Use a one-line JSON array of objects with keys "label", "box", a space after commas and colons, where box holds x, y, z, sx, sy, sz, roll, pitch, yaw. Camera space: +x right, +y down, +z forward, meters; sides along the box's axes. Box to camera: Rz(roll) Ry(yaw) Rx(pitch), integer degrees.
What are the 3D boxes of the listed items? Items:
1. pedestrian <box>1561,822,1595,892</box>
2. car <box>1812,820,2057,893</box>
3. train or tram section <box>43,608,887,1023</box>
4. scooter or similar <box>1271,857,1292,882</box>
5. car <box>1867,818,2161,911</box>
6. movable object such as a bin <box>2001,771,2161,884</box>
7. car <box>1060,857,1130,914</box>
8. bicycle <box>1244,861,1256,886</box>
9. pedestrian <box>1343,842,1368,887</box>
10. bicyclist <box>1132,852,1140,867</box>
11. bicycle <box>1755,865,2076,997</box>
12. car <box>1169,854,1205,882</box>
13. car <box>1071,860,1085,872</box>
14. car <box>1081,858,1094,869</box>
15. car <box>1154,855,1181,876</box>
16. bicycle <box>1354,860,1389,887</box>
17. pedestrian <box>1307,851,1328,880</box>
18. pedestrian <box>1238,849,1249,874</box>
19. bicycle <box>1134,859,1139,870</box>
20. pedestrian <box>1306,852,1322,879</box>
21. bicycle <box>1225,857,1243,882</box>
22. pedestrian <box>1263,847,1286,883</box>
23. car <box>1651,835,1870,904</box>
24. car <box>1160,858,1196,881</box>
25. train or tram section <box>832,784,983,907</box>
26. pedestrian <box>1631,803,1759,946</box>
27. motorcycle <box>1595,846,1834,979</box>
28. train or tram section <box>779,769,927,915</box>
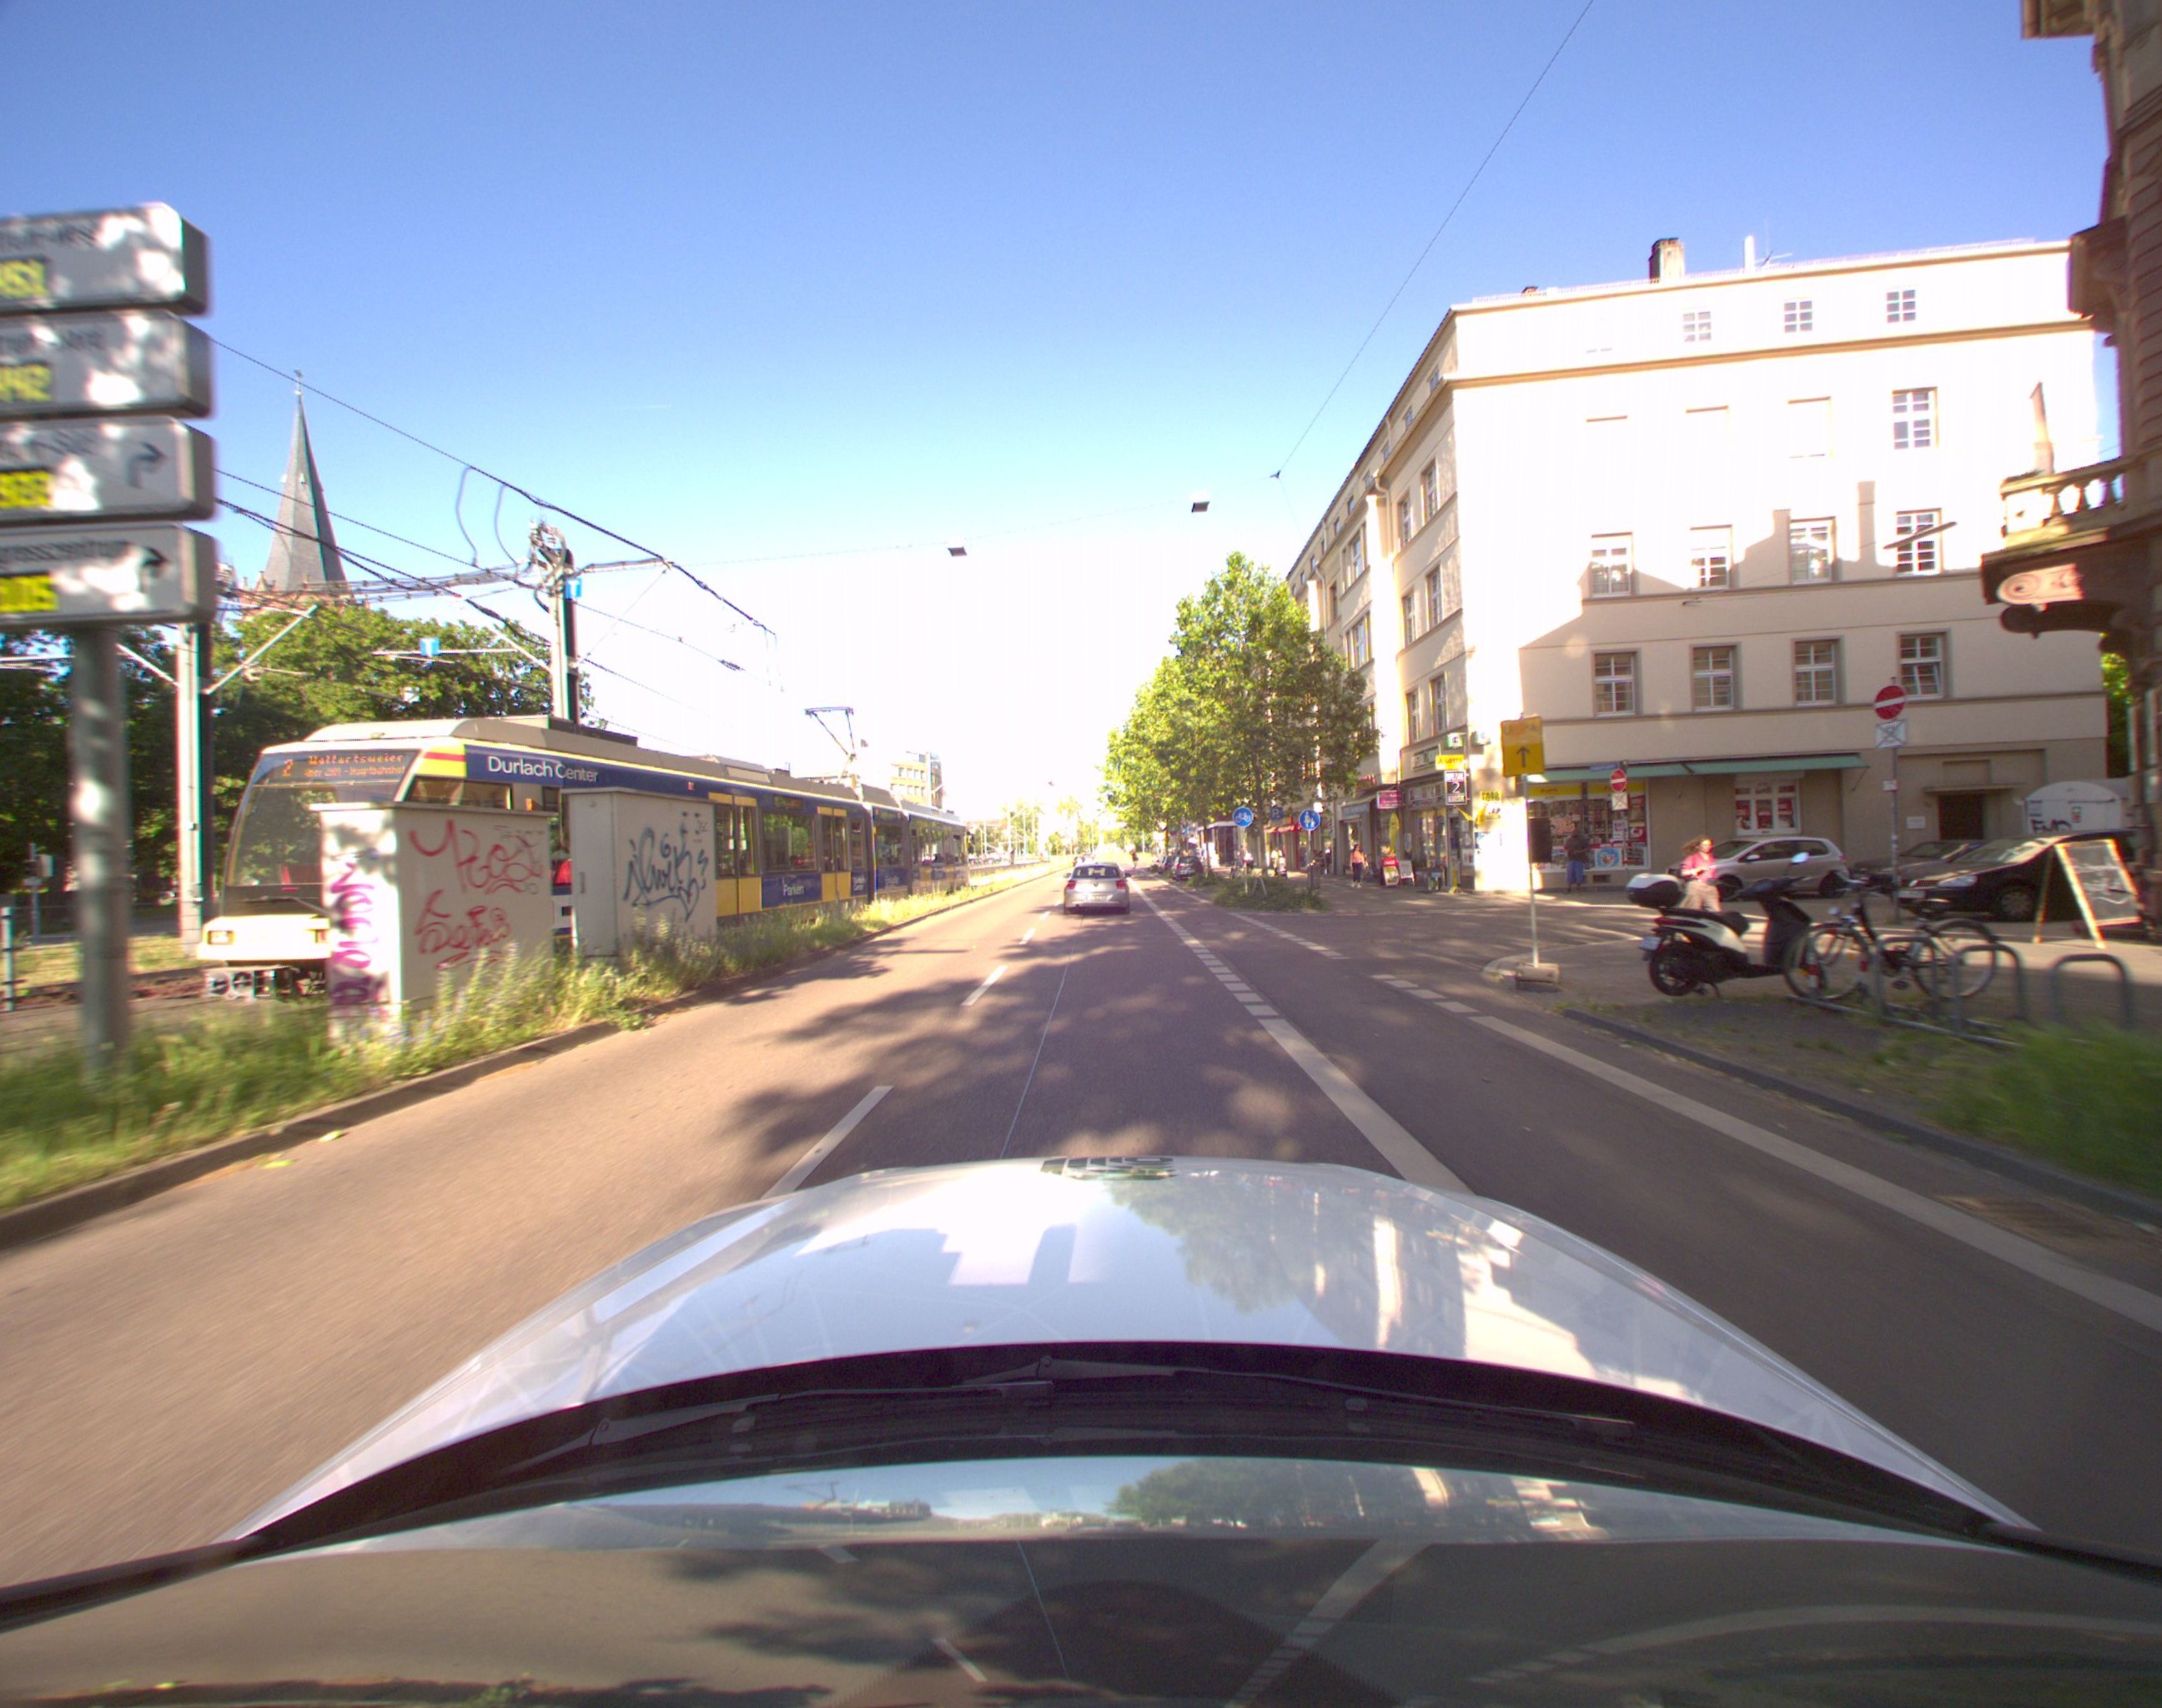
[{"label": "pedestrian", "box": [13.702, 0.073, 22.459, 0.551, 1.903, 0.586, 0, -1, -10]}, {"label": "car", "box": [21.254, 0.068, 20.436, 3.968, 1.596, 1.847, -2, -1, 5]}, {"label": "train or tram section", "box": [-7.533, -0.275, 14.725, 2.913, 3.812, 14.302, 0, -1, 7]}, {"label": "scooter or similar", "box": [9.698, 0.757, 39.394, 0.742, 1.172, 0.848, -2, -1, -2]}, {"label": "car", "box": [16.508, 0.172, 14.143, 3.888, 1.412, 1.640, -2, -1, 7]}, {"label": "movable object such as a bin", "box": [26.044, -0.625, 19.974, 3.758, 2.546, 2.547, -2, -3, 5]}, {"label": "car", "box": [0.392, 0.833, 23.030, 1.792, 1.415, 4.000, -1, -1, 1]}, {"label": "bicycle", "box": [8.448, 0.978, 40.653, 0.382, 1.207, 1.882, -1, -1, 18]}, {"label": "pedestrian", "box": [10.118, 0.400, 30.001, 0.680, 1.621, 0.562, -2, -1, -1]}, {"label": "bicyclist", "box": [5.636, 0.525, 83.144, 0.782, 1.531, 0.895, 0, -1, 2]}, {"label": "bicycle", "box": [7.141, 0.652, 7.026, 2.213, 1.093, 0.456, 0, -1, 2]}, {"label": "car", "box": [6.321, 0.820, 48.796, 1.688, 1.502, 3.803, -4, 0, 2]}, {"label": "car", "box": [-0.334, 1.503, 104.744, 1.721, 1.470, 4.408, -2, -1, -1]}, {"label": "car", "box": [0.927, 1.311, 112.893, 1.638, 1.421, 4.002, -1, -1, 2]}, {"label": "car", "box": [6.755, 0.869, 64.079, 1.782, 1.555, 4.437, -2, 0, 2]}, {"label": "bicycle", "box": [11.718, 0.753, 32.901, 0.488, 1.024, 2.624, -3, -1, 2]}, {"label": "pedestrian", "box": [11.925, 0.581, 41.141, 0.782, 1.369, 0.857, -3, -1, 2]}, {"label": "pedestrian", "box": [11.161, 0.509, 56.088, 0.556, 1.711, 0.770, -2, 0, 2]}, {"label": "bicycle", "box": [5.639, 1.050, 82.998, 0.497, 1.088, 1.998, 0, -1, 2]}, {"label": "pedestrian", "box": [12.032, 0.591, 42.022, 0.533, 1.332, 0.821, -3, -1, 2]}, {"label": "bicycle", "box": [7.592, 0.786, 40.509, 0.391, 1.215, 1.901, -3, -2, -2]}, {"label": "pedestrian", "box": [9.609, 0.555, 40.424, 0.856, 1.705, 0.916, -3, -1, -1]}, {"label": "car", "box": [16.795, 0.385, 20.292, 3.920, 1.474, 1.668, -3, -1, 5]}, {"label": "car", "box": [6.685, 1.038, 56.541, 2.031, 1.509, 4.595, -2, 0, 2]}, {"label": "train or tram section", "box": [-6.148, -0.206, 31.184, 2.940, 3.897, 10.810, 0, -1, 3]}, {"label": "pedestrian", "box": [9.040, 0.300, 12.049, 1.083, 2.014, 1.047, -1, -1, 2]}, {"label": "motorcycle", "box": [6.118, 0.551, 7.911, 1.944, 1.231, 0.515, 0, -1, -2]}, {"label": "train or tram section", "box": [-6.496, -0.293, 23.778, 2.940, 3.897, 3.872, 0, -1, 5]}]
